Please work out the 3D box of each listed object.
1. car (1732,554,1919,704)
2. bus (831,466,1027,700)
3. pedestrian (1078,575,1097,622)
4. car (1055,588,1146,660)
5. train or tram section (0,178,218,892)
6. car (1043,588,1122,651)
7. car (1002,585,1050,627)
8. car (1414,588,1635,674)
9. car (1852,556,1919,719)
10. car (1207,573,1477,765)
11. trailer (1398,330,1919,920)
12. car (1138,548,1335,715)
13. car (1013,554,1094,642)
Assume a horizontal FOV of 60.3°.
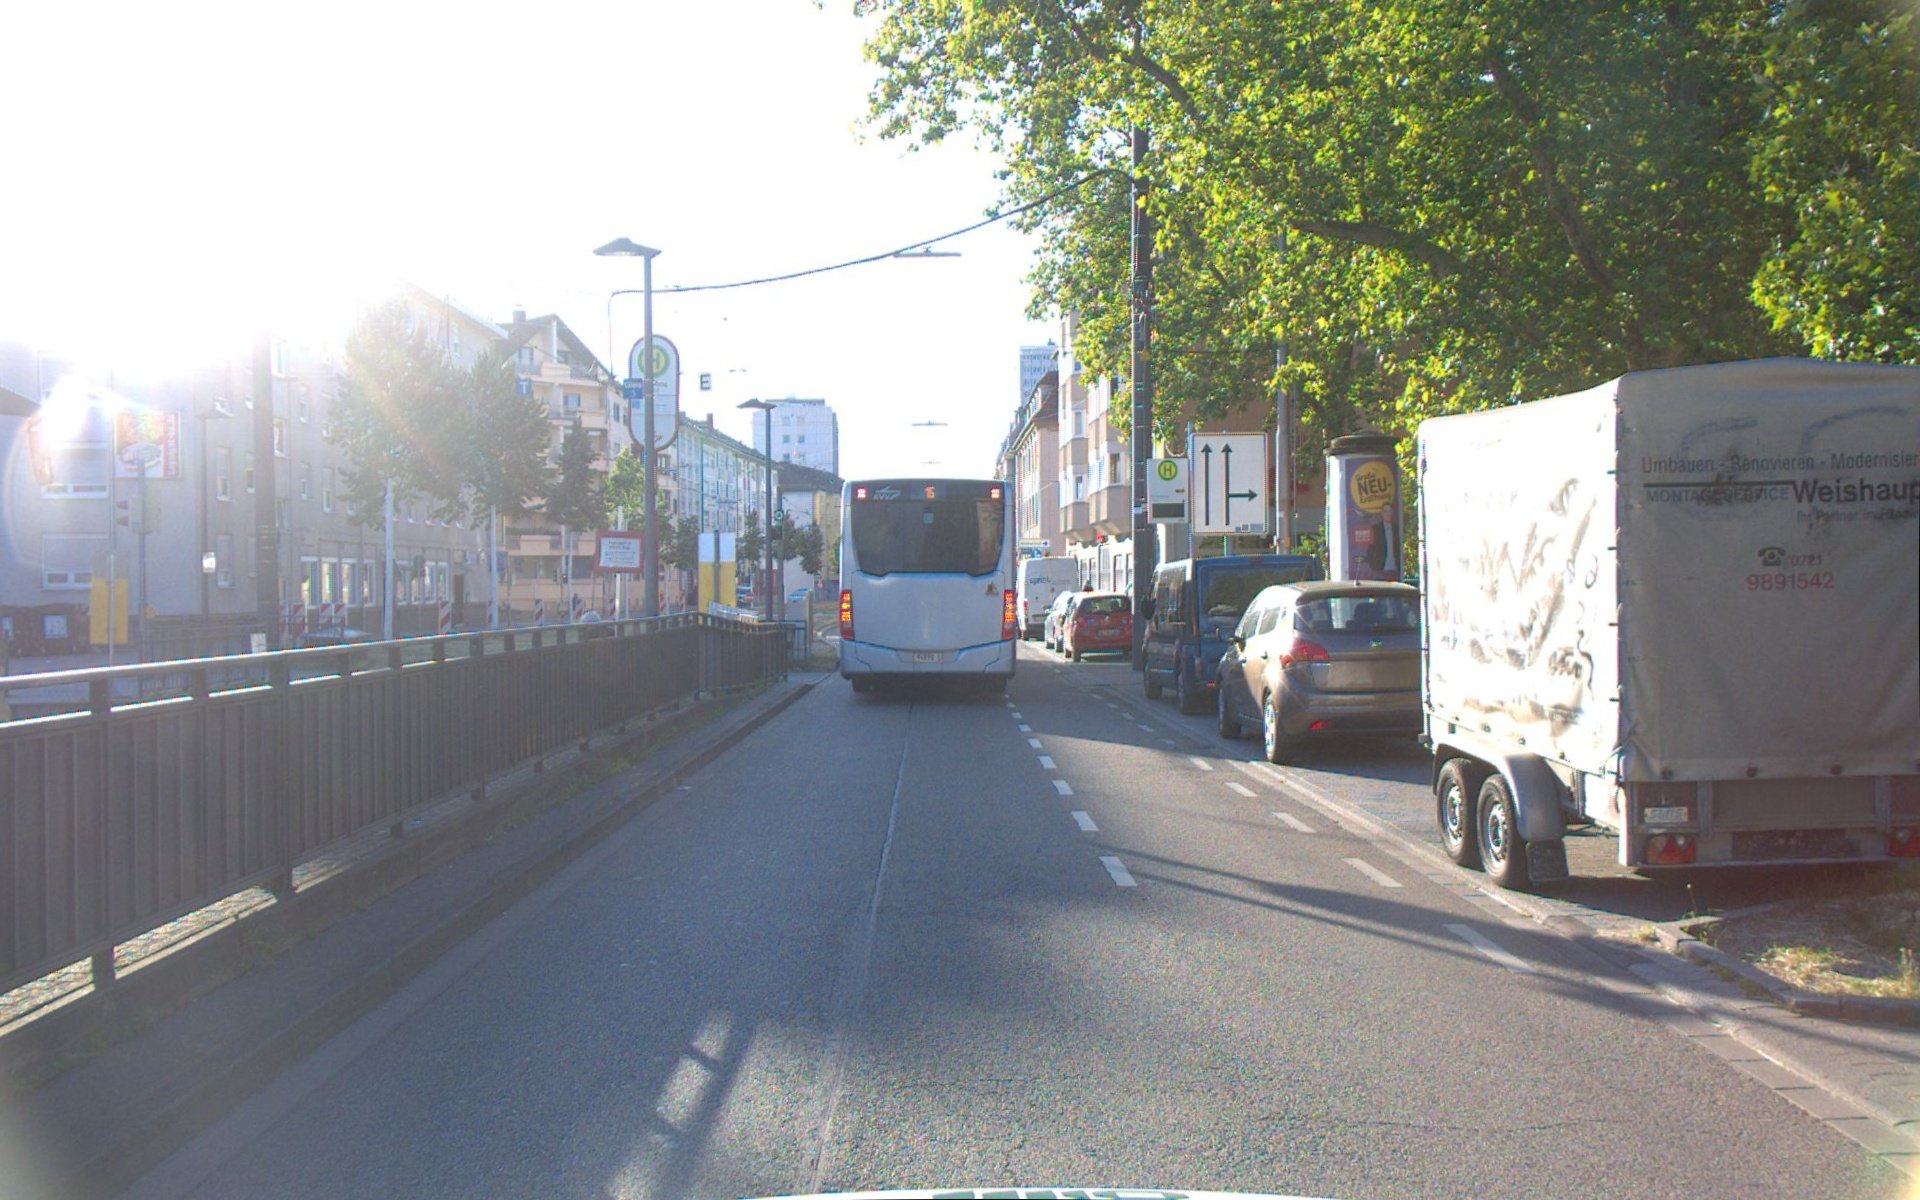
[{"bbox_3d":[11.489,0.301,19.627,3.841,1.666,1.706,-1,0,-1],"label":"car"},{"bbox_3d":[-0.375,-0.251,28.004,2.677,3.194,10.703,0,0,0],"label":"bus"},{"bbox_3d":[5.375,-0.057,69.621,0.671,1.981,1.116,0,-2,-1],"label":"pedestrian"},{"bbox_3d":[3.202,0.522,38.232,1.637,1.488,3.932,-3,0,-1],"label":"car"},{"bbox_3d":[-6.035,-0.285,4.036,2.587,3.580,13.331,-1,0,-1],"label":"train or tram section"},{"bbox_3d":[3.139,0.484,43.072,1.637,1.488,3.932,-3,0,-1],"label":"car"},{"bbox_3d":[2.580,0.223,65.594,1.694,1.602,3.674,-1,0,-1],"label":"car"},{"bbox_3d":[11.326,0.609,33.354,3.841,1.616,1.706,-1,0,-1],"label":"car"},{"bbox_3d":[11.697,0.345,17.269,3.841,1.665,1.706,-1,0,-1],"label":"car"},{"bbox_3d":[3.572,0.592,16.135,1.666,1.616,3.826,-1,0,-1],"label":"car"},{"bbox_3d":[3.784,0.096,9.053,1.795,2.602,3.318,-1,0,-1],"label":"trailer"},{"bbox_3d":[3.610,0.378,22.404,1.809,1.991,4.542,-1,0,-1],"label":"car"},{"bbox_3d":[3.002,-0.060,54.187,2.236,2.673,5.308,-1,0,-1],"label":"car"}]
